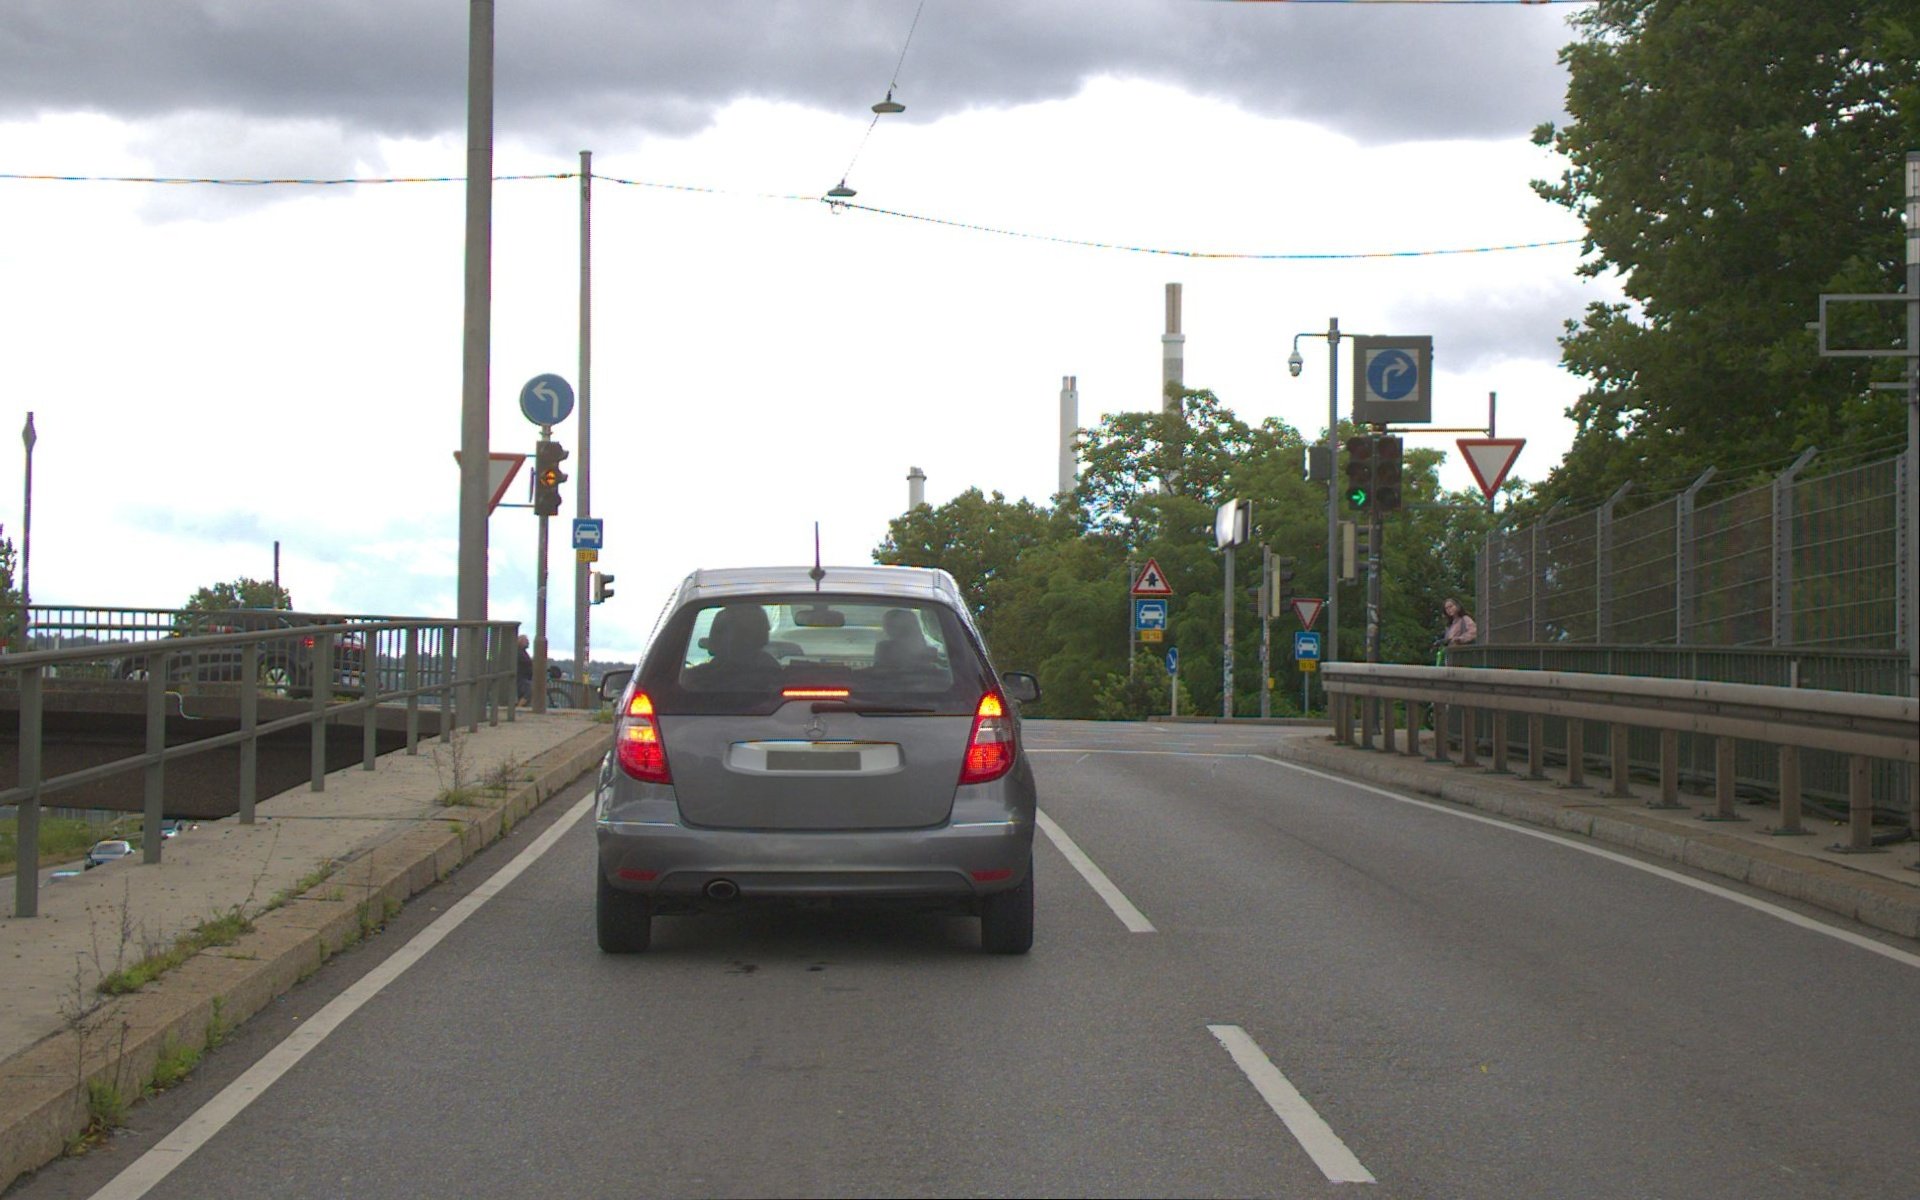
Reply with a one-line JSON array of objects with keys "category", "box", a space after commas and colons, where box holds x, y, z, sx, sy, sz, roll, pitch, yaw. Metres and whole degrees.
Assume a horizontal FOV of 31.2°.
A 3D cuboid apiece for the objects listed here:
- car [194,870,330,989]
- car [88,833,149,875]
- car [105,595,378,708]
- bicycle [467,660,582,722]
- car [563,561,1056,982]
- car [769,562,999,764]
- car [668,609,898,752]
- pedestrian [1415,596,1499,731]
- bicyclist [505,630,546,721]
[{"category": "car", "box": [-16.677, 7.846, 82.440, 1.993, 2.676, 5.932, 1, -4, 0]}, {"category": "car", "box": [-38.648, 11.657, 157.963, 1.930, 1.835, 4.410, 0, -3, -3]}, {"category": "car", "box": [-11.323, 0.802, 54.395, 3.986, 1.711, 1.938, 1, 0, -4]}, {"category": "bicycle", "box": [-8.105, 1.686, 63.967, 2.032, 1.121, 0.929, 1, 0, -13]}, {"category": "car", "box": [-0.579, 0.640, 15.078, 1.857, 1.583, 4.000, 1, 0, 0]}, {"category": "car", "box": [-0.772, 0.541, 31.663, 1.931, 1.711, 4.406, 1, 0, -3]}, {"category": "car", "box": [-2.315, 0.994, 43.984, 1.930, 1.711, 4.001, 1, 0, -18]}, {"category": "pedestrian", "box": [6.296, 0.819, 43.599, 0.832, 1.672, 0.979, 0, -3, -5]}, {"category": "bicyclist", "box": [-8.092, 1.402, 63.982, 0.653, 1.668, 0.870, 1, 0, -13]}]
